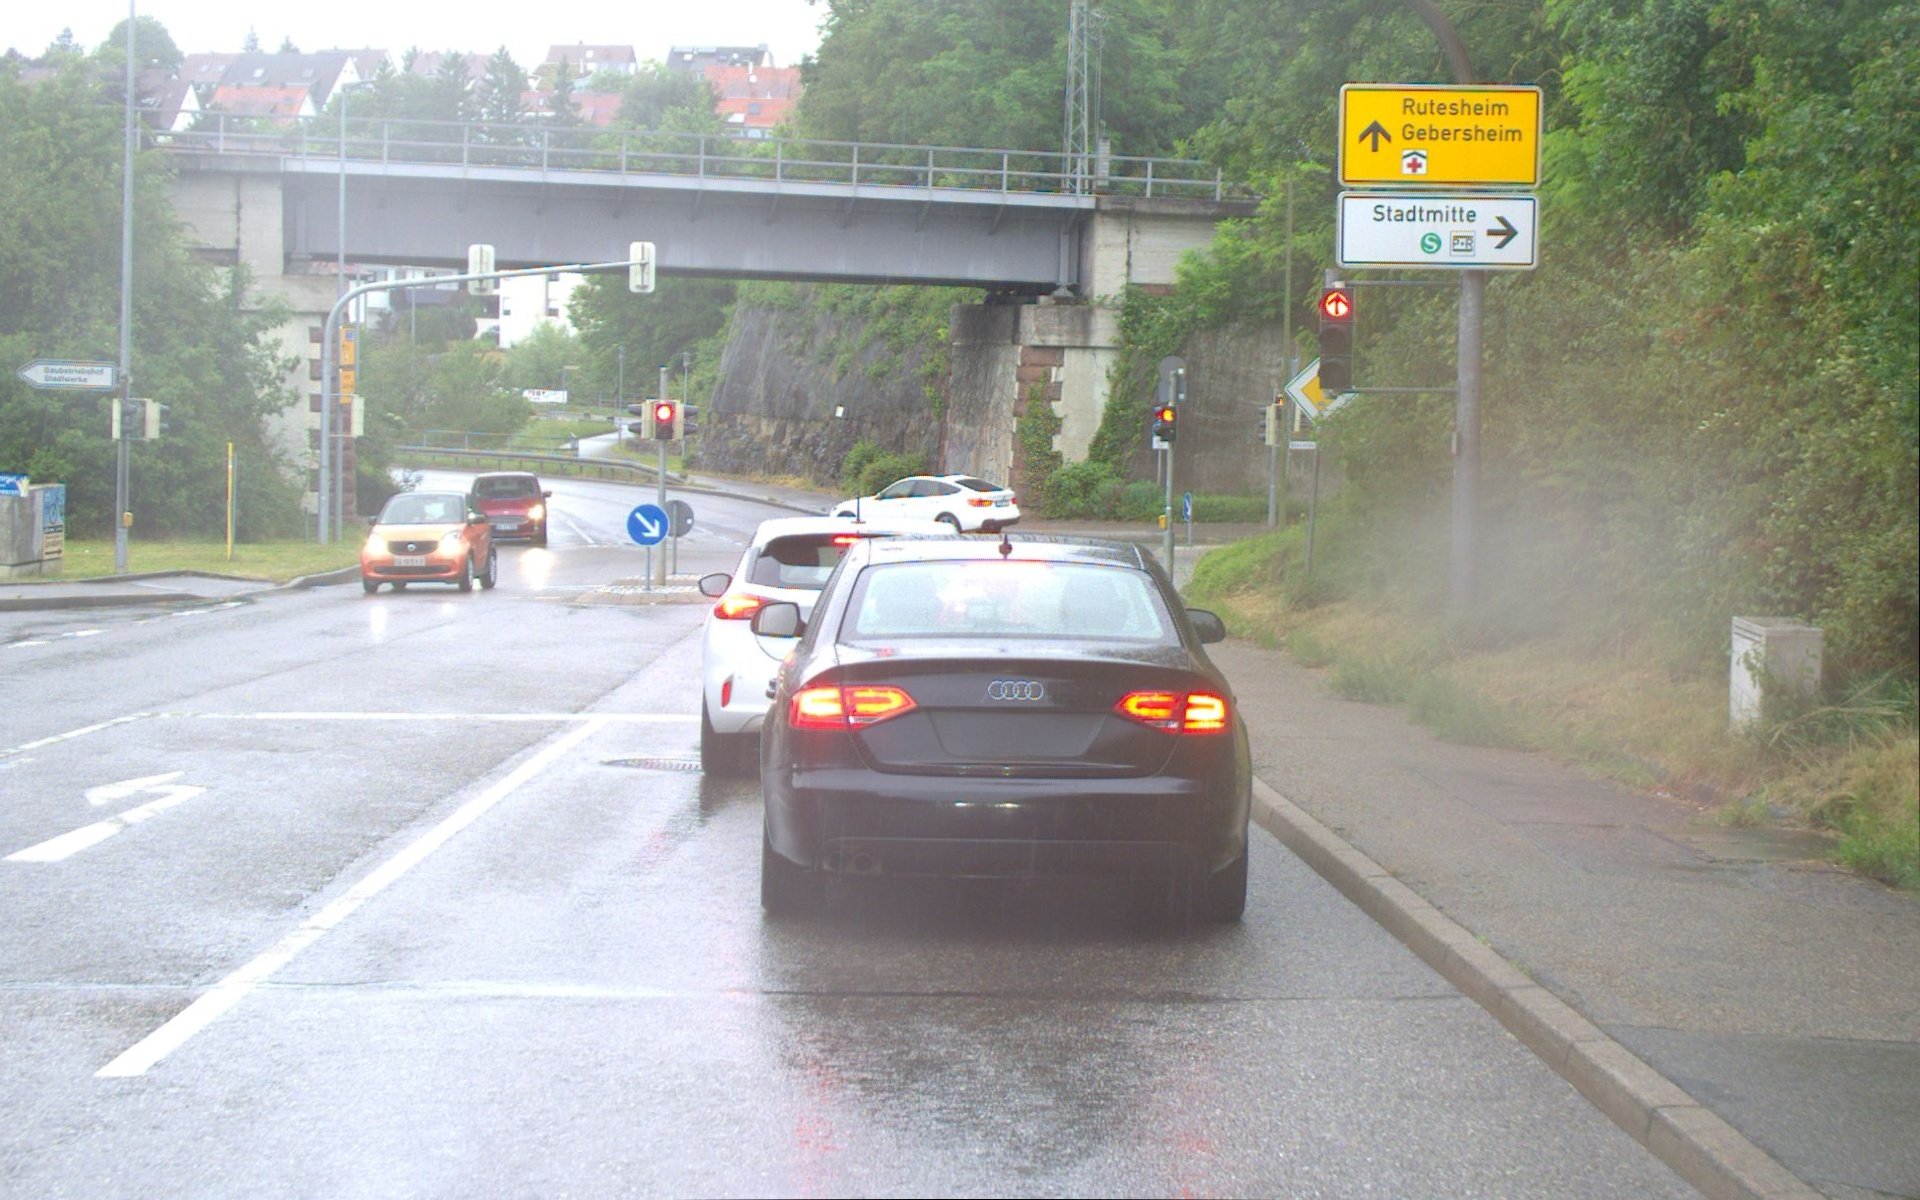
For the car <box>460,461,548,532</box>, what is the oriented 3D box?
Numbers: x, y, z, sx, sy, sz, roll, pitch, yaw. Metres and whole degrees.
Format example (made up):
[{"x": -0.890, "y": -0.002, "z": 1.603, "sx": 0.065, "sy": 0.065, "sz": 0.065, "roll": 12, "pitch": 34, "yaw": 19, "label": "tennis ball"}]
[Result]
[{"x": -10.740, "y": -2.439, "z": 80.943, "sx": 1.993, "sy": 1.622, "sz": 4.001, "roll": 0, "pitch": 2, "yaw": -7, "label": "car"}]

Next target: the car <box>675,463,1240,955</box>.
[{"x": -0.039, "y": 0.287, "z": 13.488, "sx": 1.870, "sy": 1.611, "sz": 4.001, "roll": 1, "pitch": 2, "yaw": -1, "label": "car"}]

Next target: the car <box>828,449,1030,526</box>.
[{"x": -0.742, "y": -2.638, "z": 80.925, "sx": 4.473, "sy": 1.736, "sz": 1.807, "roll": 1, "pitch": 1, "yaw": 31, "label": "car"}]

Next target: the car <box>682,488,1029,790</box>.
[{"x": -0.584, "y": 0.185, "z": 20.242, "sx": 1.823, "sy": 1.579, "sz": 4.000, "roll": 1, "pitch": 1, "yaw": -1, "label": "car"}]

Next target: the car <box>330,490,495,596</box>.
[{"x": -8.557, "y": -0.888, "z": 54.054, "sx": 1.993, "sy": 1.579, "sz": 4.000, "roll": 1, "pitch": 1, "yaw": -1, "label": "car"}]
